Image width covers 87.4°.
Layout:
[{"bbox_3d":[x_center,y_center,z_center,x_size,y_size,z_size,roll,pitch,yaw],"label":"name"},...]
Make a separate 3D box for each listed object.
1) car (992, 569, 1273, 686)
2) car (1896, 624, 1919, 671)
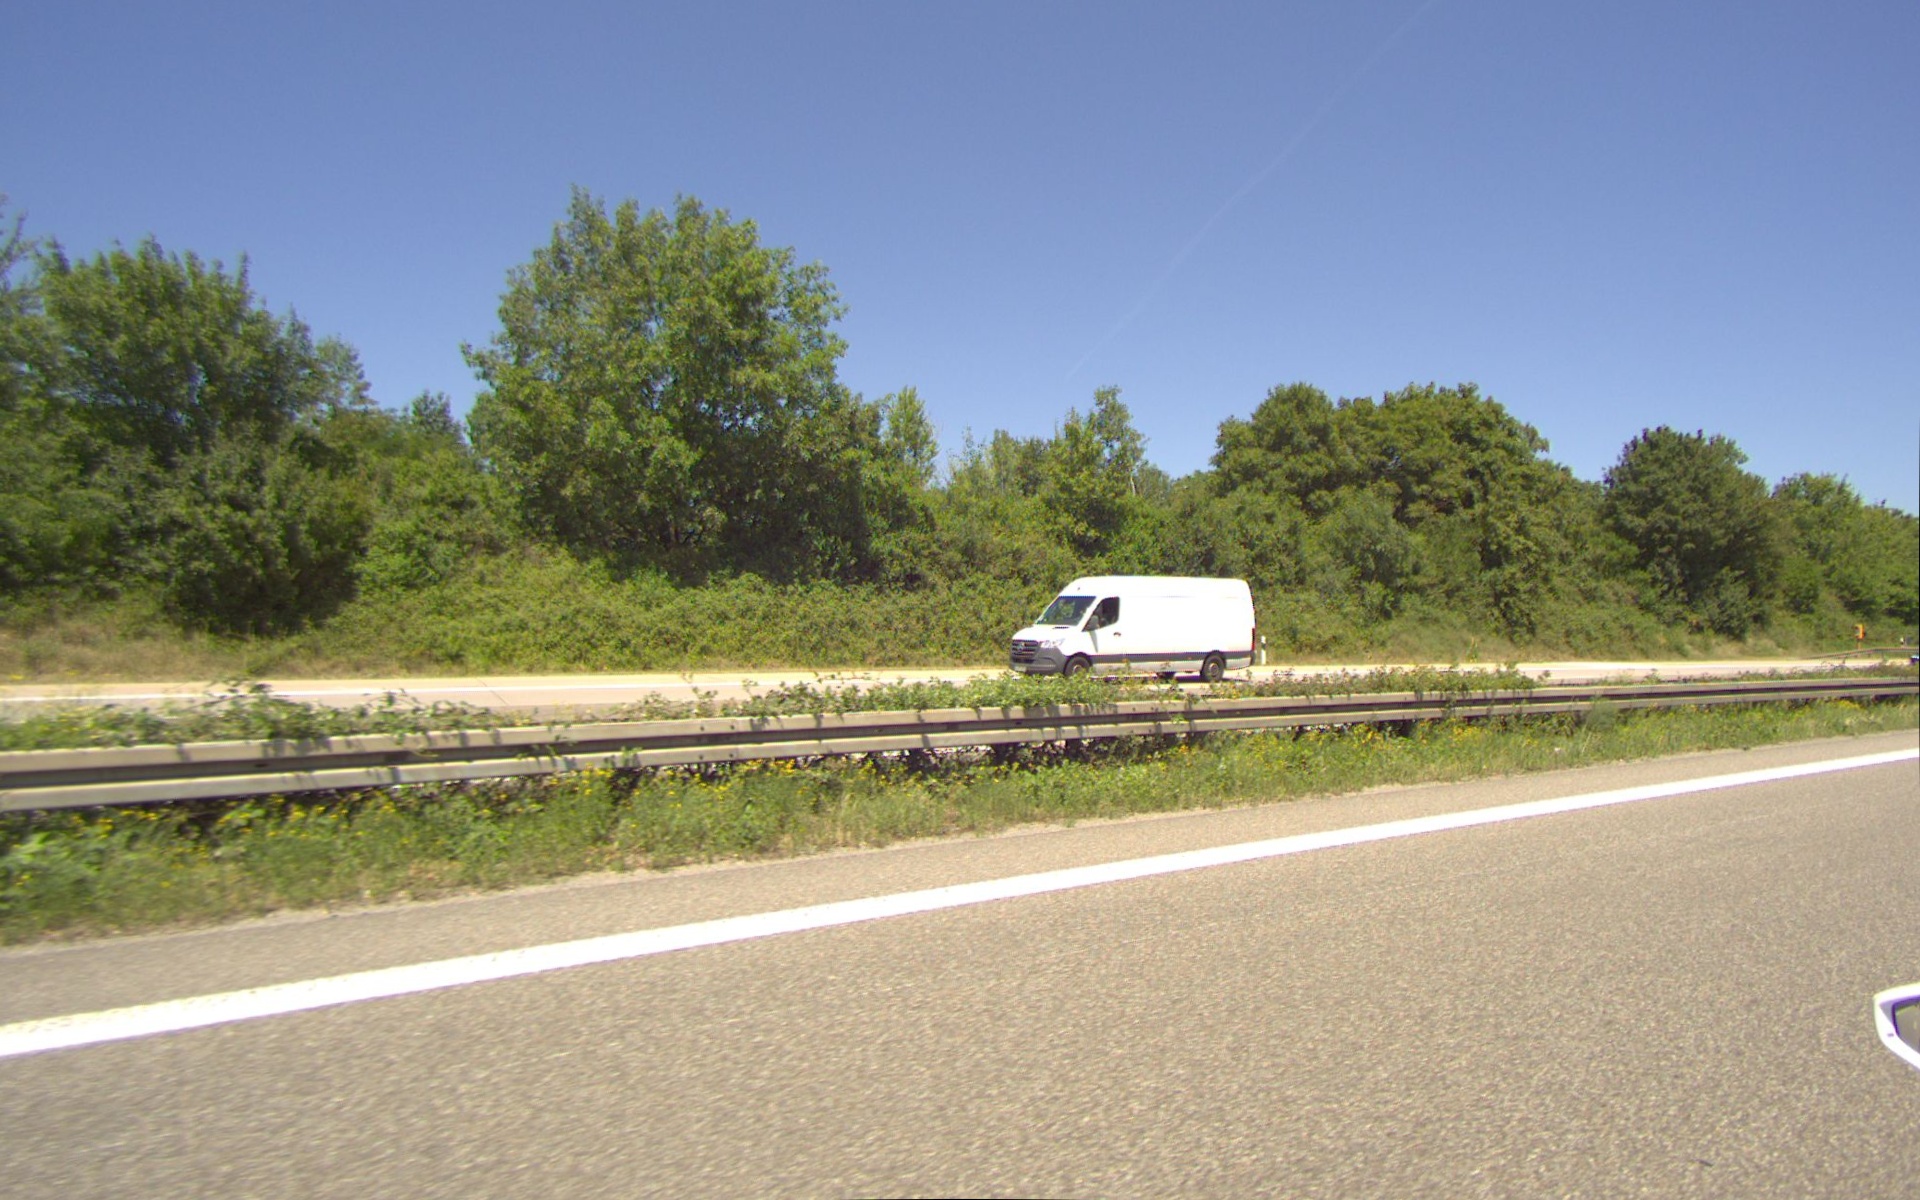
[{"bbox_3d":[4.479,0.726,25.285,7.306,2.610,2.218,2,-2,-31],"label":"car"},{"bbox_3d":[41.829,2.008,42.636,4.900,1.931,1.817,2,-1,-31],"label":"car"}]
